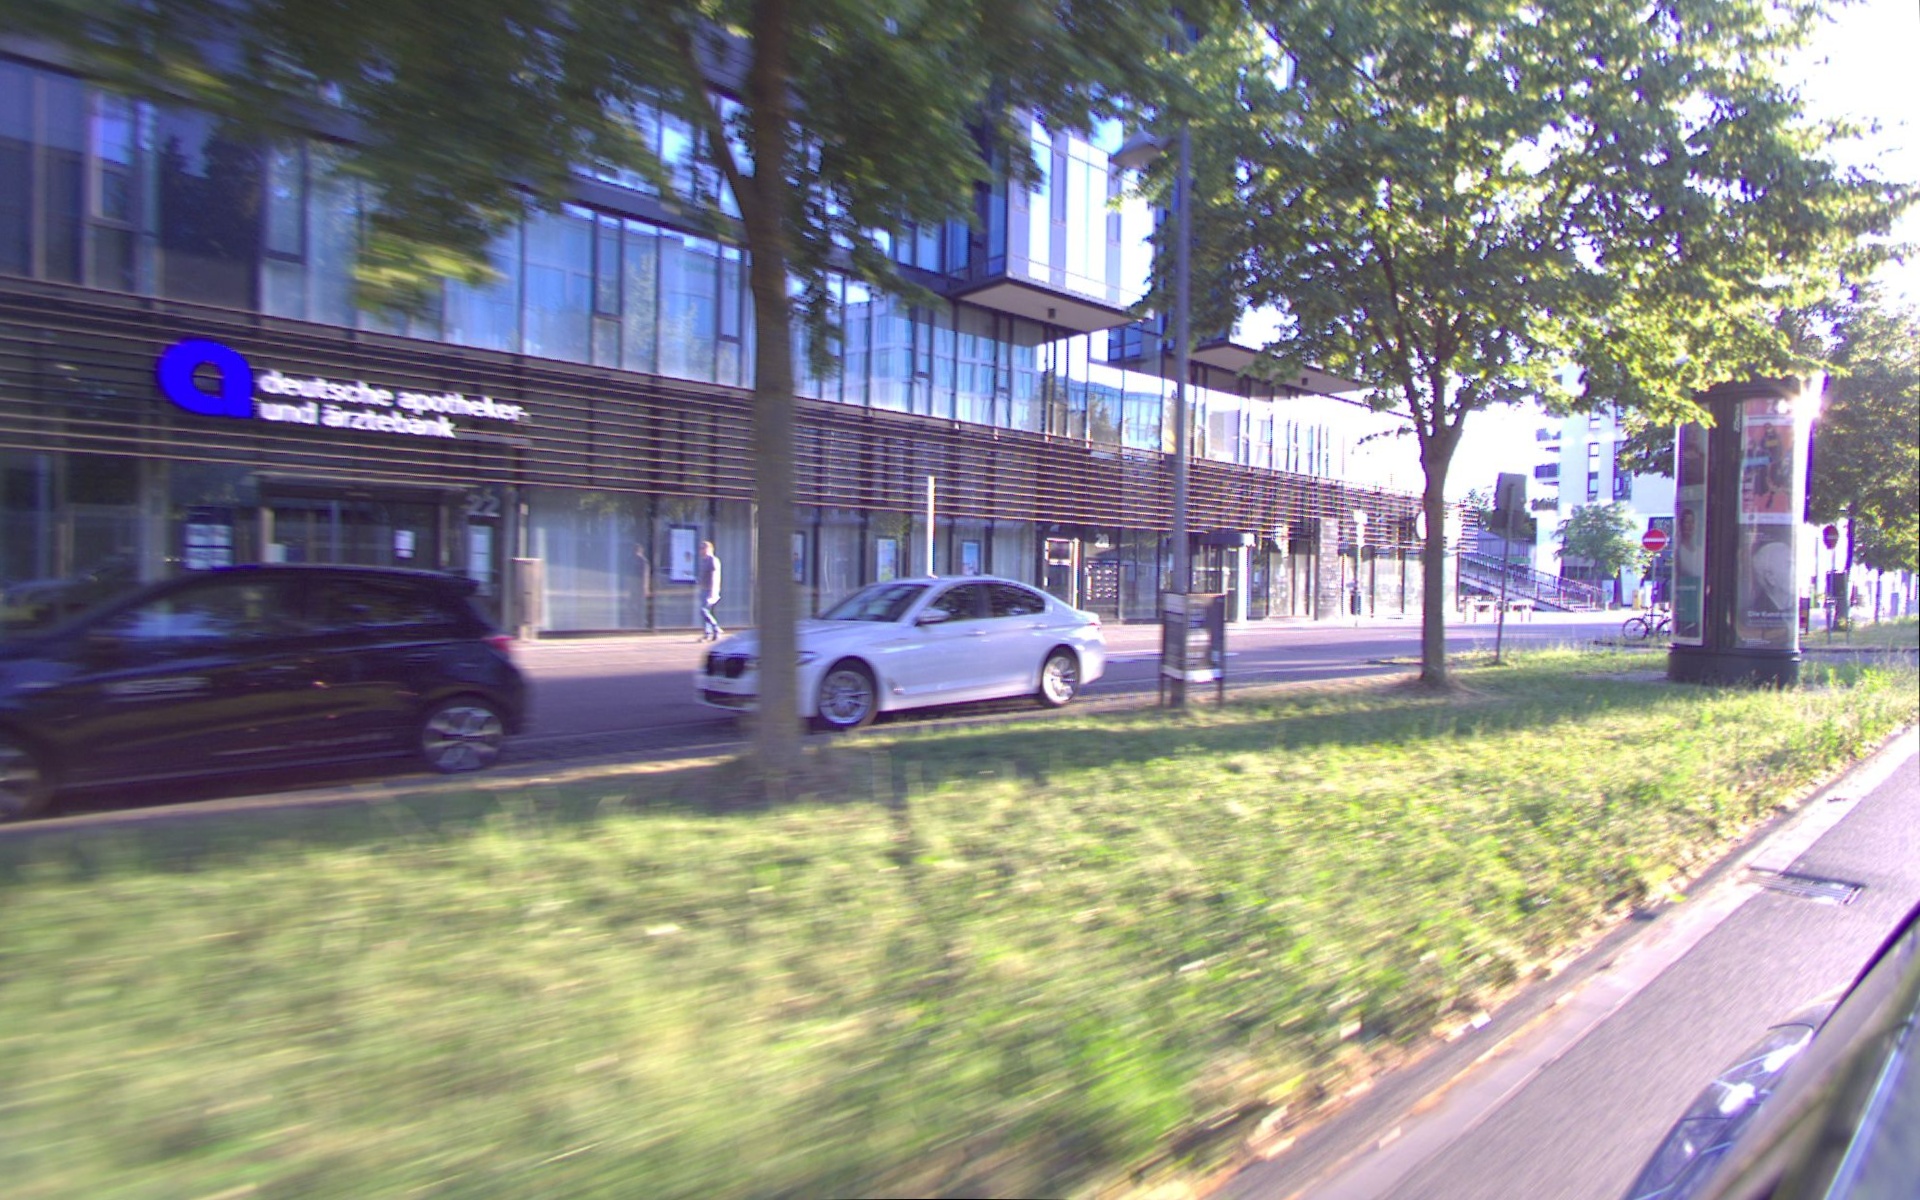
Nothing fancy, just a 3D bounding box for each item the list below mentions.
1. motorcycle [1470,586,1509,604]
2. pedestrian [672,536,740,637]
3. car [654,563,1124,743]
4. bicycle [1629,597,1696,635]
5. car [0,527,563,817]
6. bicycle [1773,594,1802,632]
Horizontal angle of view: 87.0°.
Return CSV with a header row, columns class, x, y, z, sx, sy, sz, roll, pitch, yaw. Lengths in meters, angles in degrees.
class,x,y,z,sx,sy,sz,roll,pitch,yaw
motorcycle,31.700,-0.299,60.586,2.637,1.056,0.734,1,1,-30
pedestrian,-4.724,-0.257,18.814,0.897,1.819,0.898,0,2,-42
car,-0.543,0.408,10.903,4.956,1.515,1.919,-1,1,-43
bicycle,18.433,0.411,26.605,0.355,0.921,1.726,1,1,-8
car,-5.022,0.413,6.521,4.214,1.516,1.862,-1,-3,-40
bicycle,23.098,0.337,28.241,0.578,1.007,1.662,2,2,41
